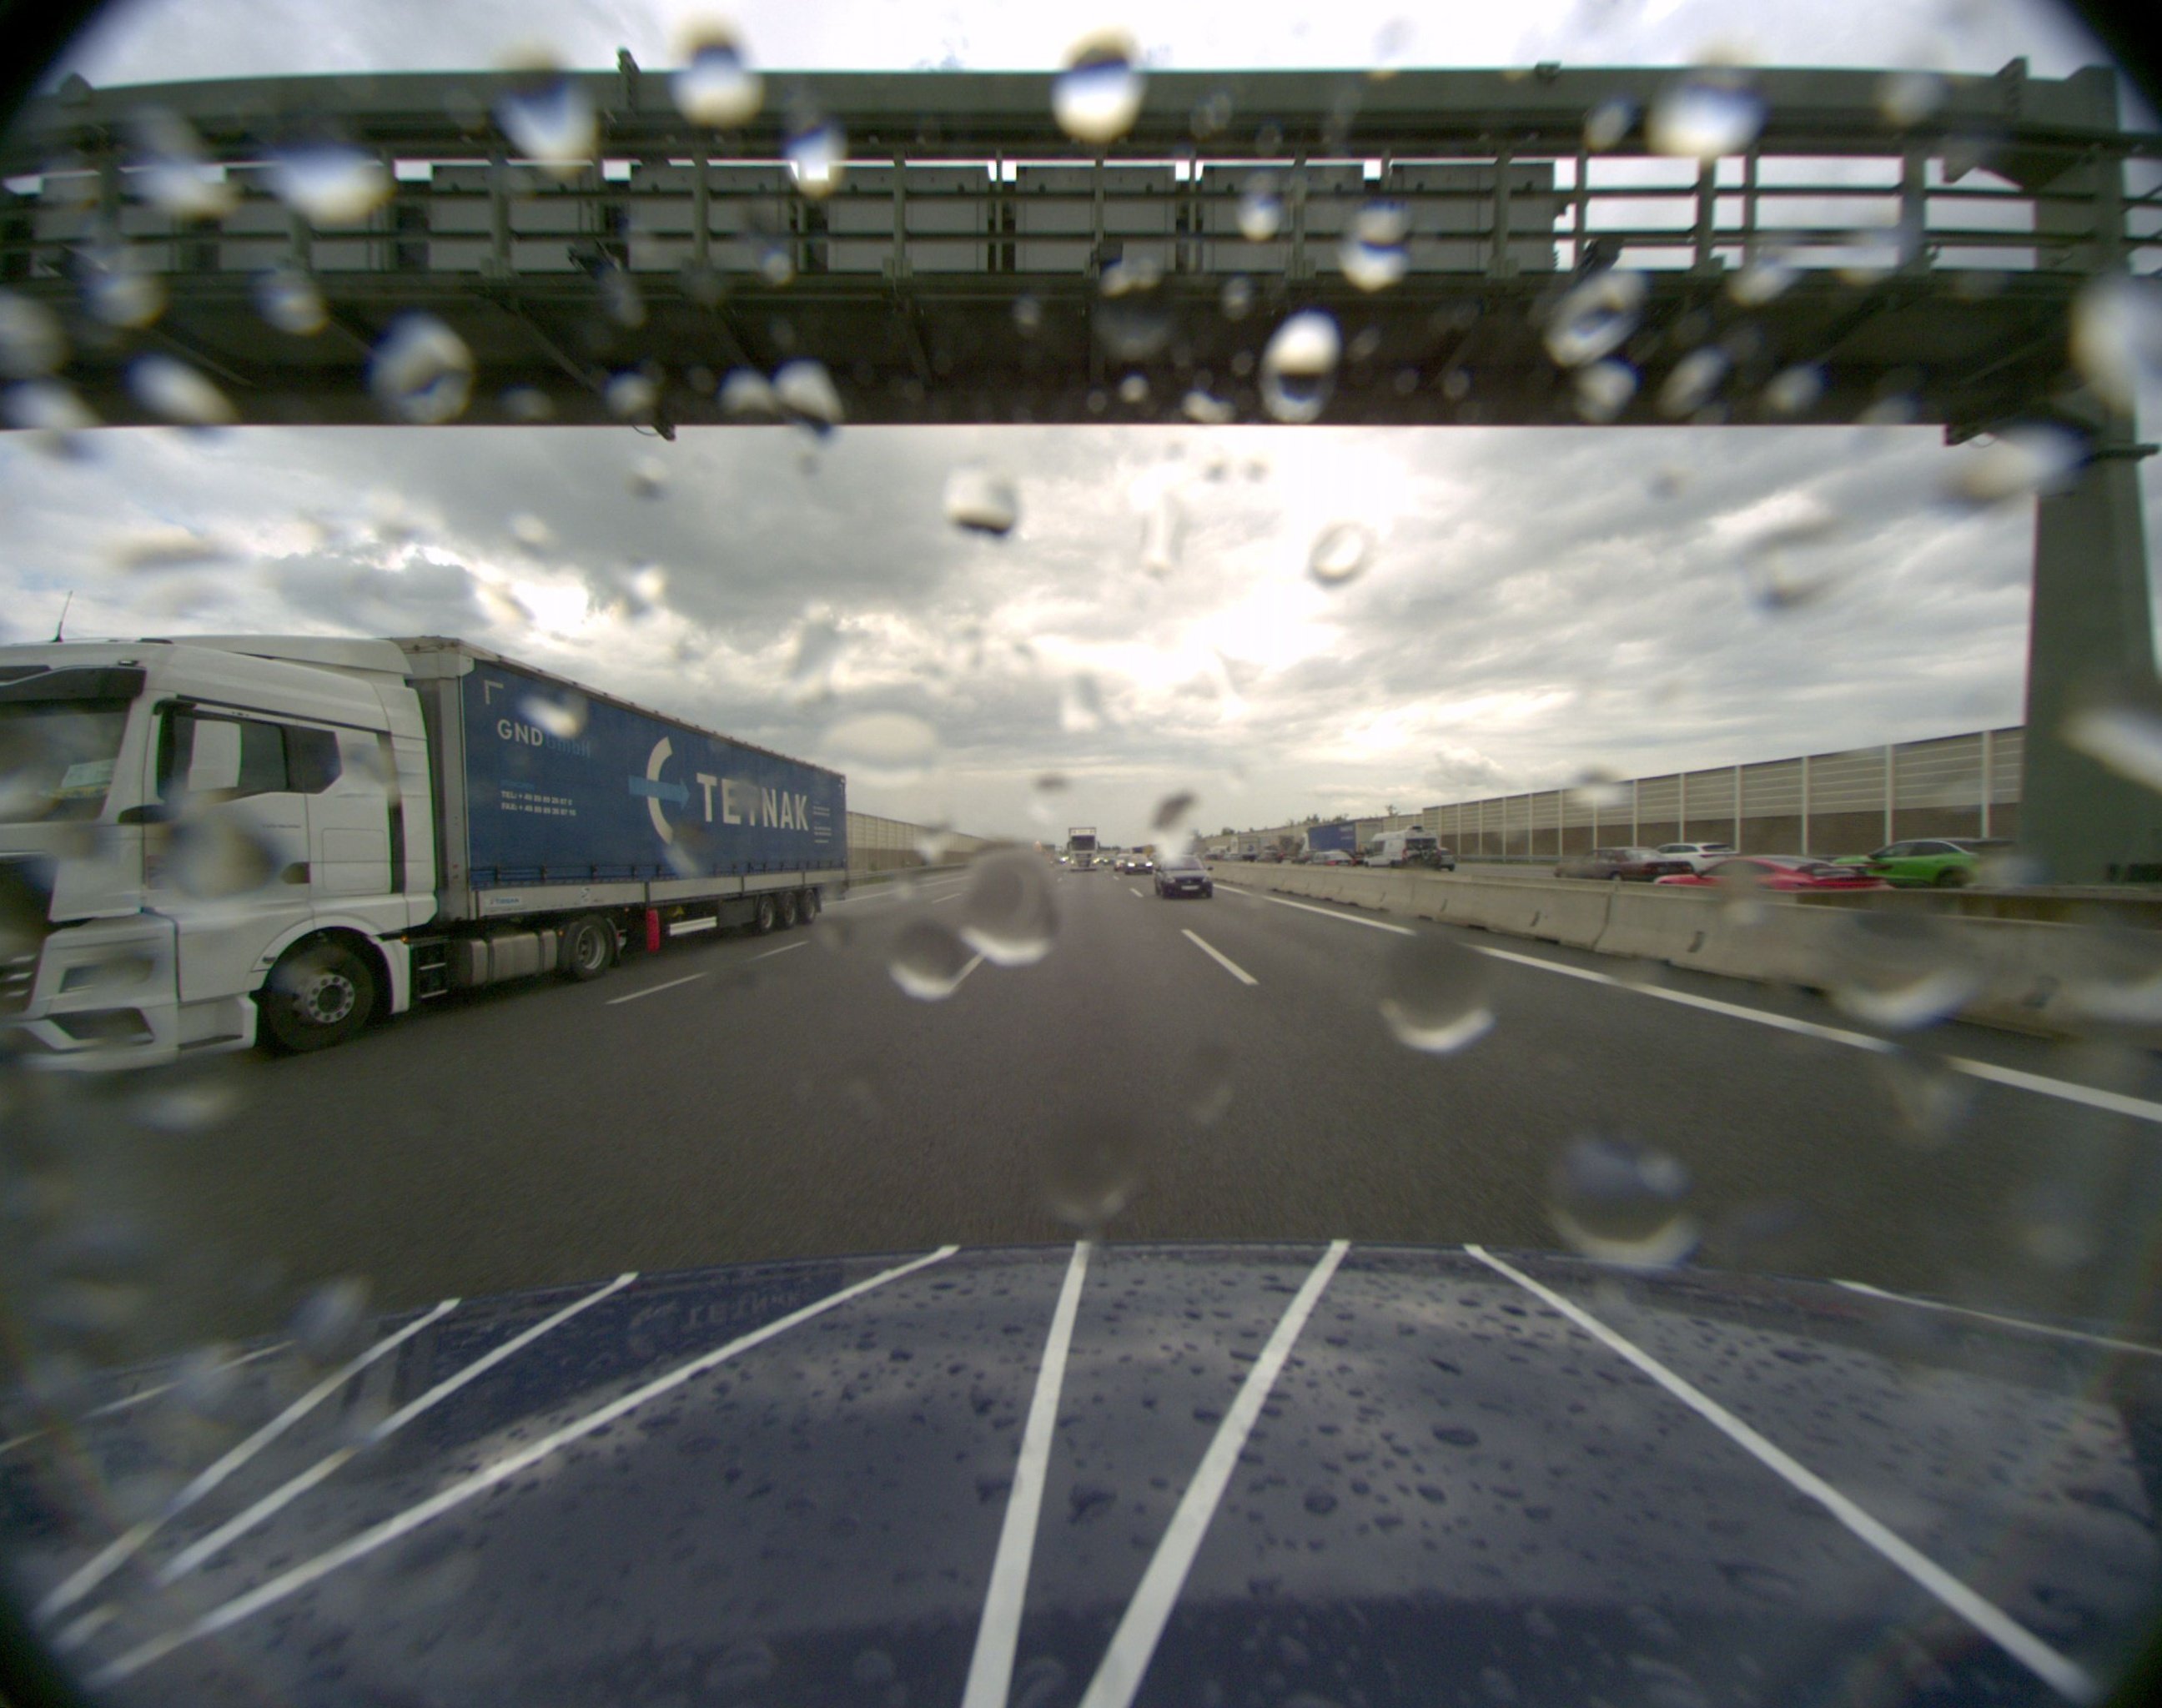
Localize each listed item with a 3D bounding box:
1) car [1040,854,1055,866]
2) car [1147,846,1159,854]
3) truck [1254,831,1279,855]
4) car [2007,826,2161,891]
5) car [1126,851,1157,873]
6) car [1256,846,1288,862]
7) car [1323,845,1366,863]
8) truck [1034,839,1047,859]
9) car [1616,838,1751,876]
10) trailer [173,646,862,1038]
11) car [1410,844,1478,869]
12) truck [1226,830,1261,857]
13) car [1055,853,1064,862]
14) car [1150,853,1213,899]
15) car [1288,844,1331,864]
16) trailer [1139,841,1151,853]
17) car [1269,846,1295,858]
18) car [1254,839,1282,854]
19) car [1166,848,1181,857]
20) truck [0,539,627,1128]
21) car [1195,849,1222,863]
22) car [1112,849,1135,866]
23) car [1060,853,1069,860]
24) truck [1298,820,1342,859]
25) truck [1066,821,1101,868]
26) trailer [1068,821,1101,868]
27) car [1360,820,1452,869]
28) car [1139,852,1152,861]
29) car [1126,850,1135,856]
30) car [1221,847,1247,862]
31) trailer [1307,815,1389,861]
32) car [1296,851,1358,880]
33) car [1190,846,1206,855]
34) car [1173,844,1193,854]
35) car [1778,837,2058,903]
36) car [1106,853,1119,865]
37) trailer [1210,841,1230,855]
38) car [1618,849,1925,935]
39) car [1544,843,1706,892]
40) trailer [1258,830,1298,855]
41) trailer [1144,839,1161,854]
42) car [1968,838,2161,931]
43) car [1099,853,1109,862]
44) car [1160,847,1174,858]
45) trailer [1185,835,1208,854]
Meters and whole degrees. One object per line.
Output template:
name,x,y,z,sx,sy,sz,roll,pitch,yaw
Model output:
car,-4.261,0.723,96.513,1.698,1.395,3.999,-2,0,-1
car,16.816,-0.912,177.526,2.066,1.805,4.777,-1,0,-2
truck,33.016,-1.946,135.375,2.924,4.011,5.725,-2,0,-1
car,25.679,0.072,17.750,2.065,1.482,4.997,-1,1,2
car,4.297,0.516,54.409,1.776,1.451,4.479,-2,0,-1
car,18.903,0.000,75.420,2.065,1.482,4.997,-1,1,2
car,22.412,-0.027,64.920,2.065,1.482,4.997,-1,1,2
truck,-8.629,-1.024,162.031,2.600,4.088,11.368,-2,0,-3
car,26.251,0.090,33.388,2.065,1.482,4.997,-1,1,2
trailer,-7.942,-0.143,15.150,2.768,4.008,14.452,-2,0,0
car,23.048,0.108,48.472,2.065,1.482,4.997,-1,1,2
truck,22.392,-1.365,105.134,2.703,3.506,9.995,-2,0,1
car,-3.620,0.590,129.925,1.498,1.395,3.999,-2,0,-1
car,3.360,0.692,25.950,1.578,1.395,4.000,-2,0,0
car,18.304,-0.047,61.208,2.065,1.482,4.997,-1,1,2
trailer,20.648,-2.227,246.005,2.938,3.916,10.118,-1,0,-1
car,26.869,-0.320,101.785,2.065,1.590,4.996,-1,1,0
car,21.799,-0.895,88.712,2.065,1.590,4.996,-1,1,0
car,18.176,-0.310,149.069,2.066,1.805,4.777,-1,0,-2
truck,-7.995,-0.114,8.064,2.752,4.011,5.725,-2,0,0
car,14.080,0.187,84.265,2.066,1.482,4.996,-1,1,-2
car,3.615,0.291,65.460,1.732,1.395,3.999,-2,0,-1
car,-3.455,0.505,158.755,1.698,1.395,4.000,-2,0,2
truck,25.705,-1.524,81.933,2.752,4.011,5.725,-2,0,0
truck,0.307,-0.869,71.684,2.913,4.146,5.193,-3,0,2
trailer,0.472,-0.910,77.479,2.925,4.188,13.197,-2,0,1
car,18.524,-0.543,43.755,2.389,2.535,7.086,-1,1,2
car,13.275,0.567,156.851,1.961,1.689,4.409,-1,0,-2
car,15.647,-0.297,241.110,2.066,1.990,5.806,-1,0,-2
car,18.416,0.039,91.534,2.065,1.590,4.996,-1,1,0
trailer,25.754,-1.446,74.323,2.768,4.008,14.451,-2,0,-1
car,14.045,0.604,43.645,2.065,1.482,4.997,-1,1,2
car,21.026,-0.594,136.906,2.065,1.482,4.997,-1,1,1
car,14.231,-0.733,105.950,1.878,1.291,5.599,-1,0,-1
car,21.861,0.345,20.268,2.065,1.482,4.997,-1,1,2
car,4.123,0.651,101.060,1.498,1.395,3.999,-2,0,-1
trailer,25.802,-1.054,140.924,2.465,2.480,6.085,-1,0,0
car,14.141,0.669,16.116,2.065,1.482,4.997,-1,1,2
car,18.444,0.378,26.129,2.065,1.482,4.997,-1,1,2
trailer,33.069,-1.887,128.333,2.943,4.008,13.858,-2,0,0
trailer,20.074,-2.030,214.273,2.768,4.008,14.449,-2,0,-2
car,18.623,0.484,12.611,2.065,1.482,4.997,-1,1,2
car,3.790,0.509,126.064,1.498,1.395,3.999,-2,0,-1
car,14.367,-0.212,127.223,1.878,1.689,4.221,-1,0,-1
trailer,25.571,-2.094,168.592,2.768,4.008,14.451,-2,0,0
